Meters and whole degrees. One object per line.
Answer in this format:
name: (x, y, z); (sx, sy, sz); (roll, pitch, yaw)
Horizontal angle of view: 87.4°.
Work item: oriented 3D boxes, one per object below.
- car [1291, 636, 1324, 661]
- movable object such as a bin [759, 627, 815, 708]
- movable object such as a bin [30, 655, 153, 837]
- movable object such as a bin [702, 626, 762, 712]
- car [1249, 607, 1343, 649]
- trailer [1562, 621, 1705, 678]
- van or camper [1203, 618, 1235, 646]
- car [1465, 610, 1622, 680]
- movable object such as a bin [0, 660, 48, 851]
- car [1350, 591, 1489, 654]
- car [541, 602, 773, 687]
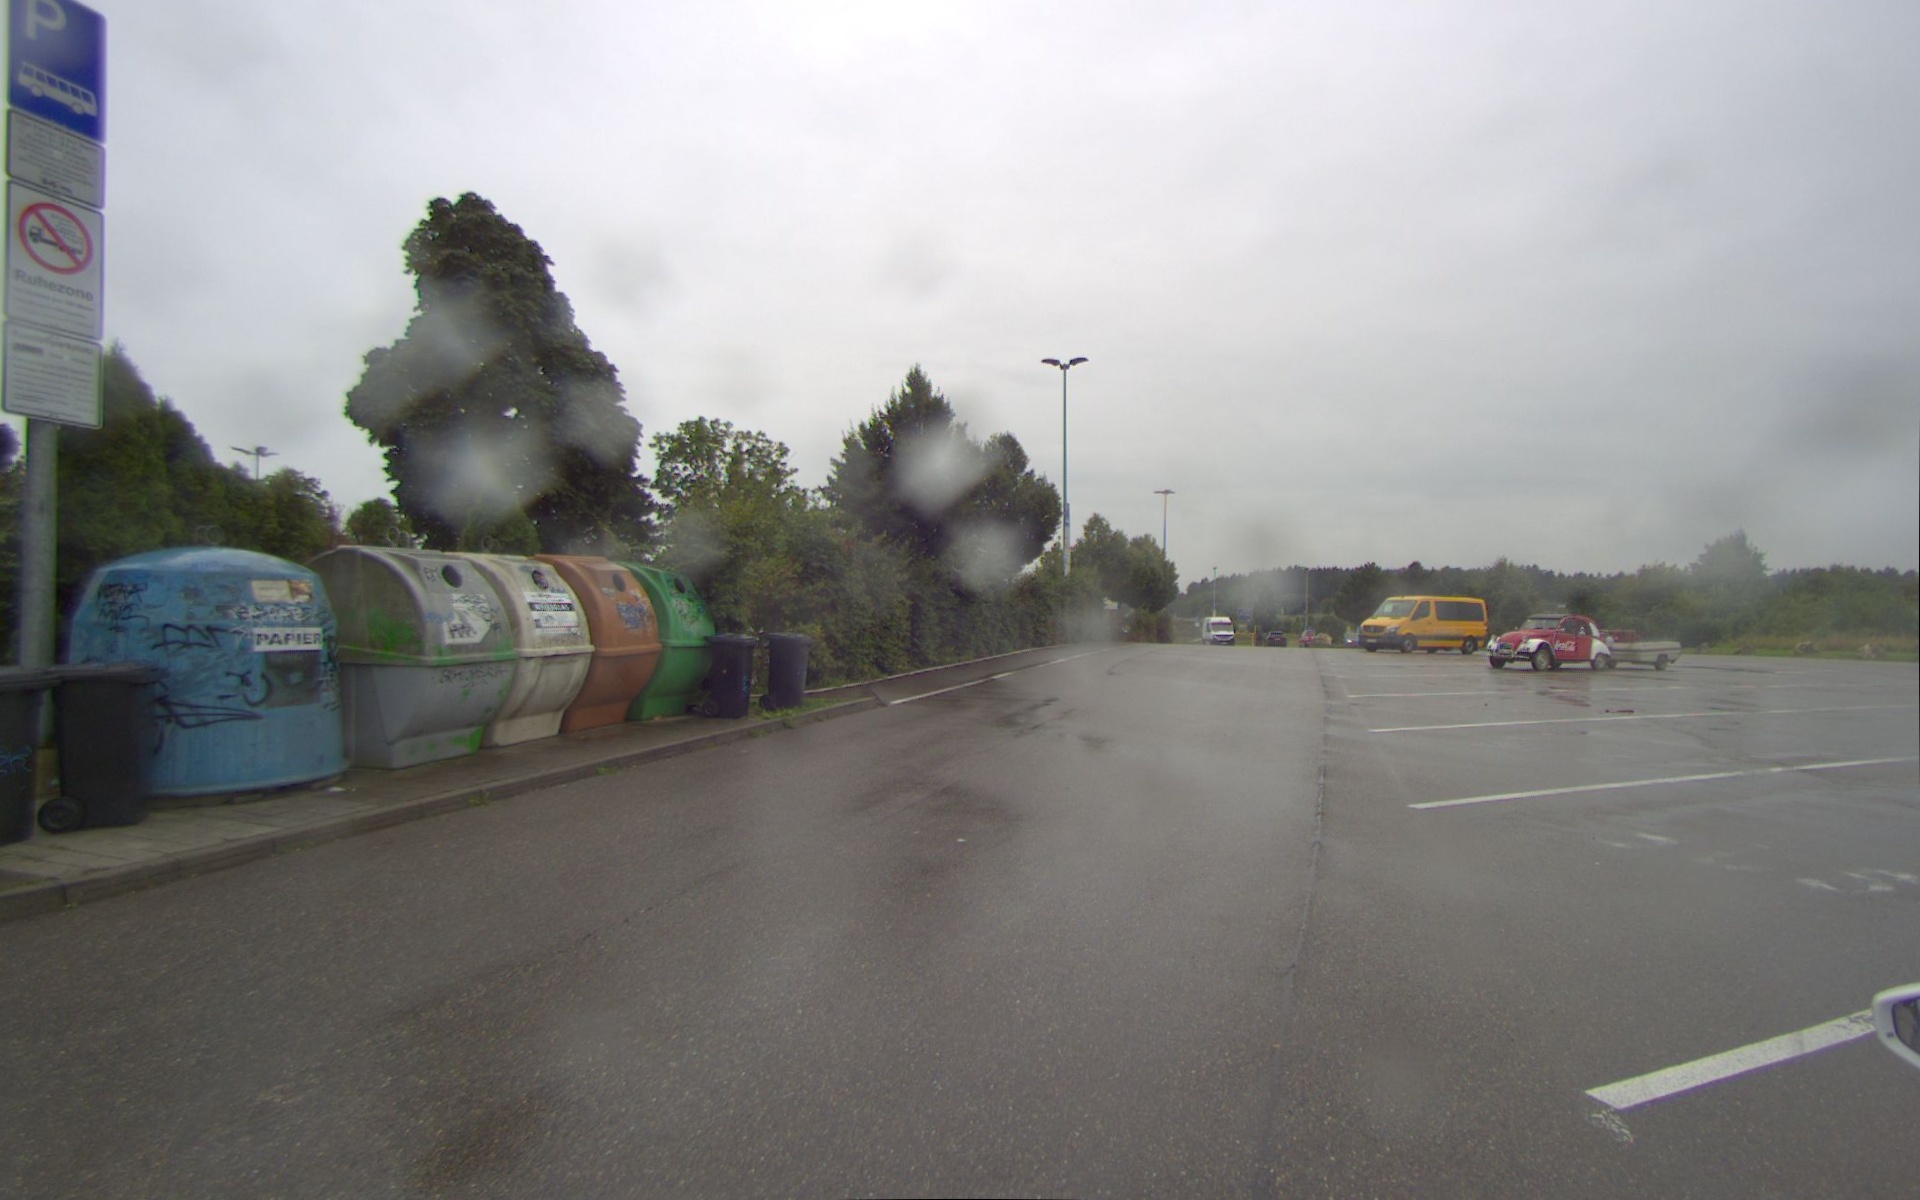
car: (28.860, 3.991, 83.543); (1.653, 2.040, 4.003); (0, -2, 6)
movable object such as a bin: (-2.058, 0.794, 11.955); (0.499, 0.928, 0.438); (0, 1, 20)
movable object such as a bin: (-4.940, 0.809, 5.734); (0.445, 0.961, 0.402); (1, 1, -28)
movable object such as a bin: (-2.571, 0.765, 11.341); (0.499, 0.935, 0.438); (0, 1, 23)
car: (19.026, 1.577, 56.958); (4.688, 2.231, 1.996); (1, 1, -11)
trailer: (19.680, 1.417, 29.364); (3.945, 1.553, 1.690); (1, -1, -25)
van or camper: (21.655, 2.650, 83.988); (1.960, 2.195, 4.002); (1, -1, 5)
car: (16.093, 1.234, 27.703); (3.945, 1.801, 1.817); (1, -1, -24)
movable object such as a bin: (-5.161, 0.805, 5.209); (0.464, 0.961, 0.435); (1, 1, -4)
car: (18.857, 1.001, 41.134); (5.950, 2.411, 1.986); (2, -3, -28)
car: (-5.347, 0.725, 17.785); (3.577, 1.286, 1.807); (1, 1, 22)
